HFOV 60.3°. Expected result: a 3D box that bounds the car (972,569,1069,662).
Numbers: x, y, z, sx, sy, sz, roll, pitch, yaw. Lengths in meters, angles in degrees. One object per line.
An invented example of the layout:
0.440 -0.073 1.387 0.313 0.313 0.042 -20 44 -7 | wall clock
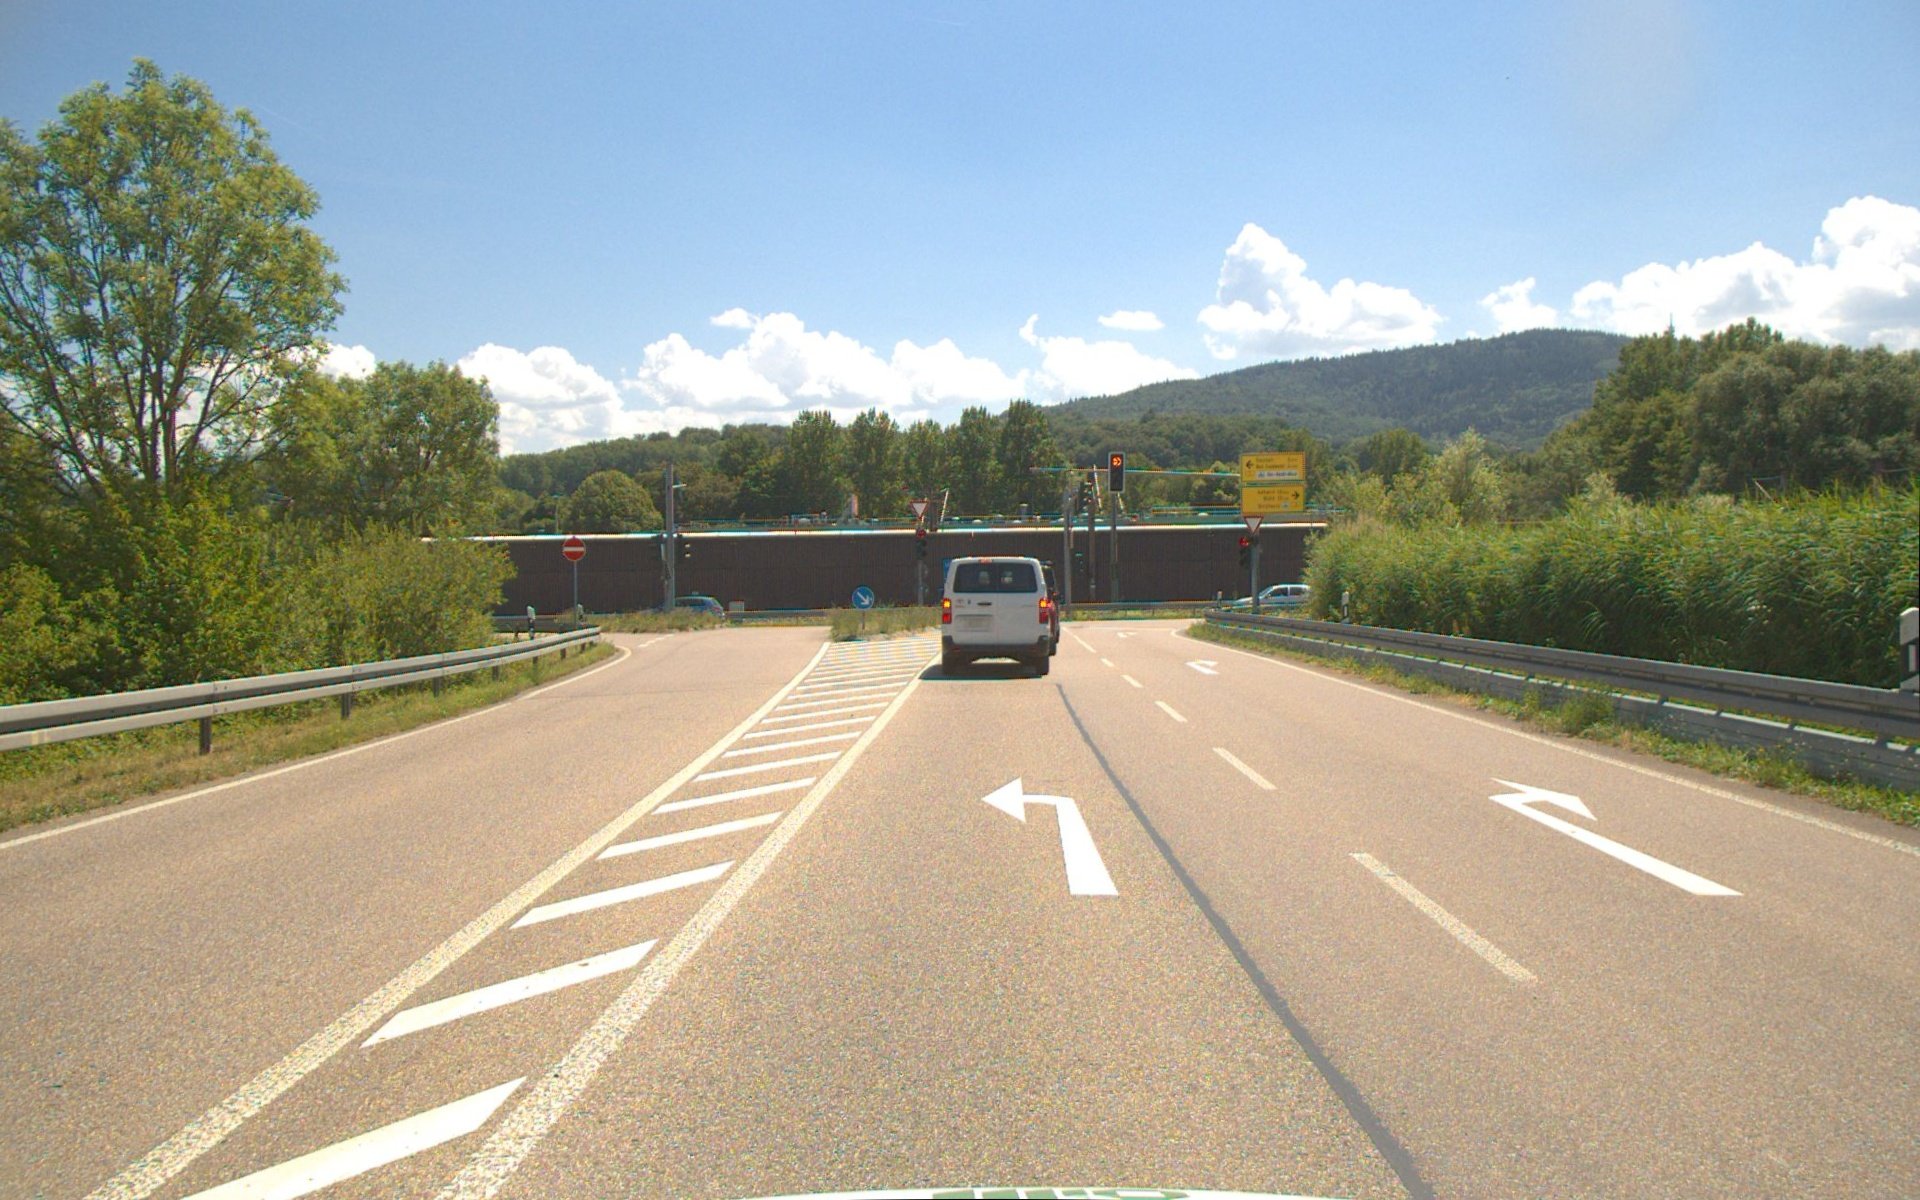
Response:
1.310 0.319 36.454 1.952 1.843 4.001 -2 0 2 | car

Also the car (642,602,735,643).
-12.452 1.011 75.901 3.905 1.800 2.000 -1 0 0 | car

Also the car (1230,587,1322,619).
14.473 0.117 75.887 3.904 1.373 1.849 0 2 1 | car

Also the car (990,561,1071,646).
1.824 0.070 43.579 1.952 2.048 4.001 -2 0 2 | car

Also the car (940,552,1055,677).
0.644 0.220 28.608 1.831 1.999 4.001 0 0 1 | car
